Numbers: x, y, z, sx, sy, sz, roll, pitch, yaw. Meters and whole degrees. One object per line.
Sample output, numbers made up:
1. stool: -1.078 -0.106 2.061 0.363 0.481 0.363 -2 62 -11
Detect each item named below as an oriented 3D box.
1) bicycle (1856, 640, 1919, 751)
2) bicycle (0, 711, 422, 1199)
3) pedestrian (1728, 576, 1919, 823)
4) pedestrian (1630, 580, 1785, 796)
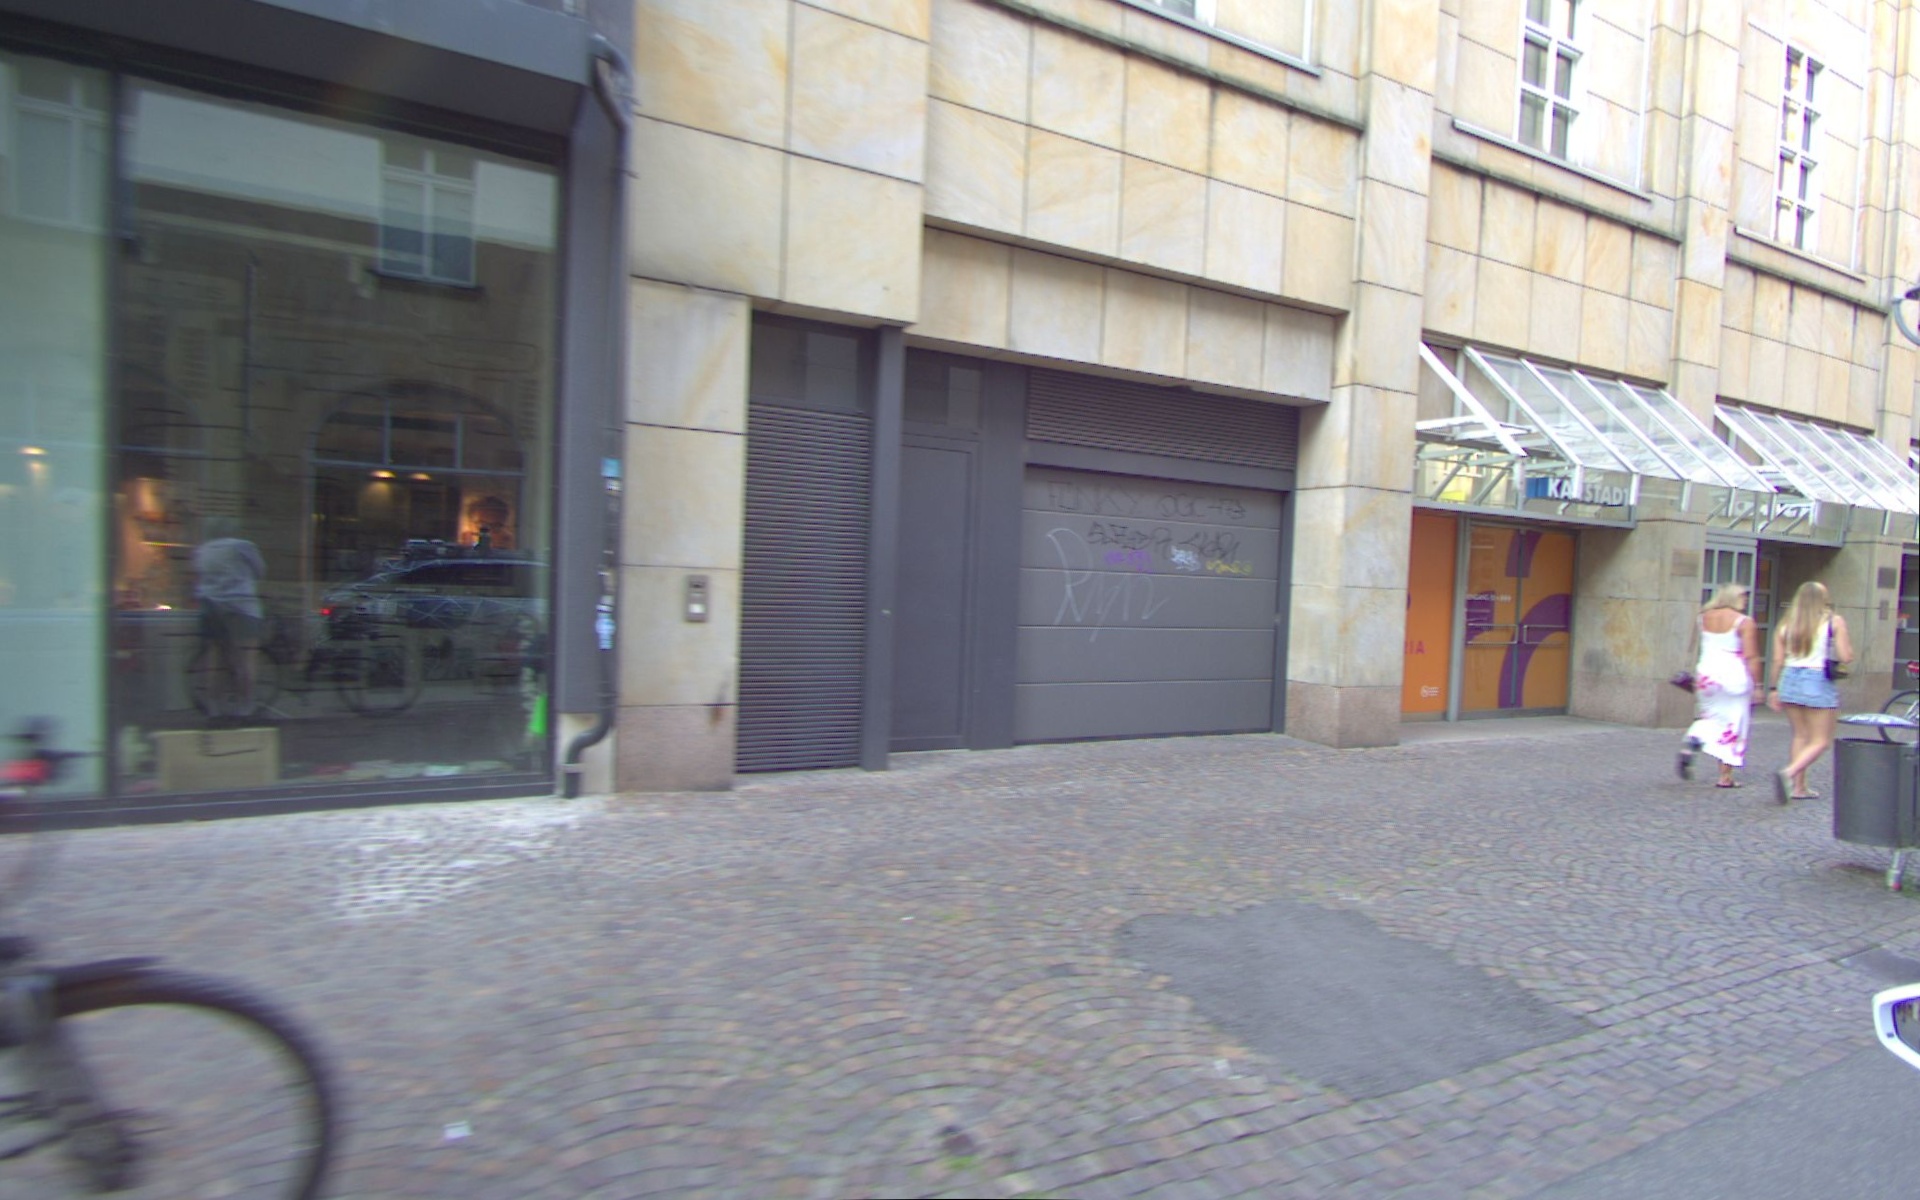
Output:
1. bicycle: 10.946 1.052 11.174 1.734 1.153 0.522 1 1 -13
2. bicycle: -1.834 0.809 1.391 1.890 1.169 0.530 1 3 -28
3. pedestrian: 6.645 0.709 7.729 0.937 1.753 0.802 1 2 -30
4. pedestrian: 6.238 0.698 8.392 0.850 1.687 0.672 1 2 -28
